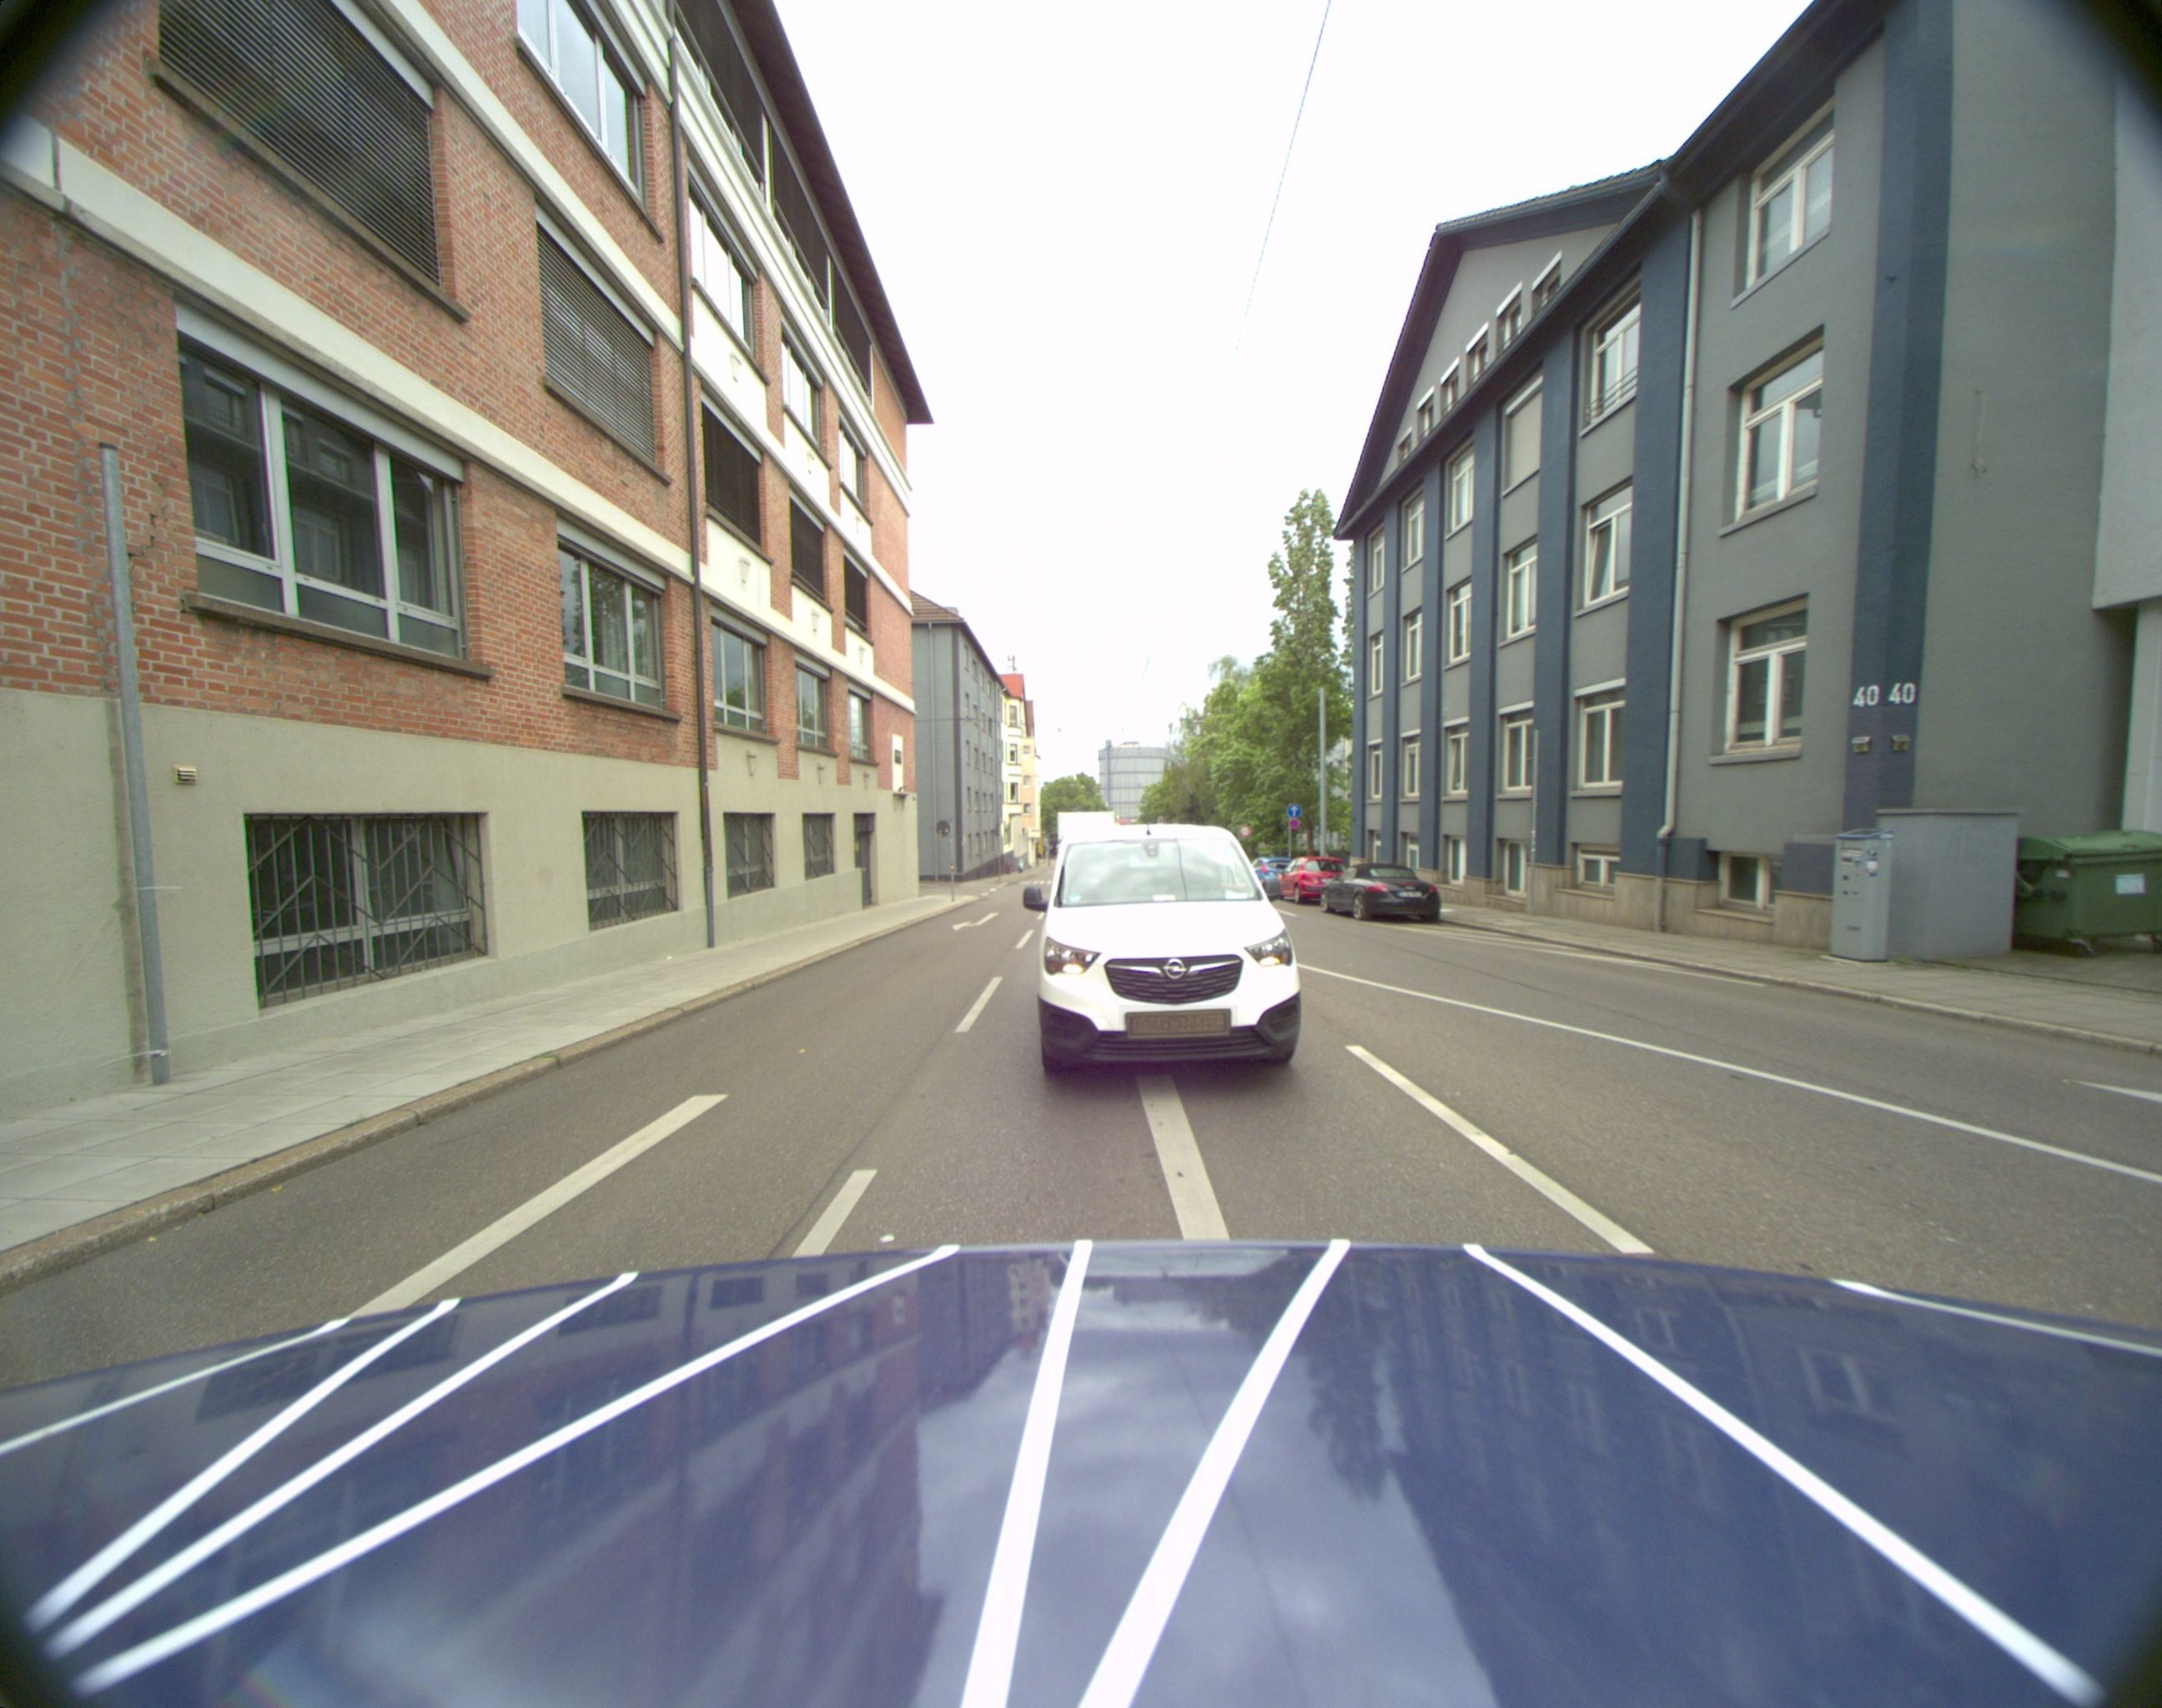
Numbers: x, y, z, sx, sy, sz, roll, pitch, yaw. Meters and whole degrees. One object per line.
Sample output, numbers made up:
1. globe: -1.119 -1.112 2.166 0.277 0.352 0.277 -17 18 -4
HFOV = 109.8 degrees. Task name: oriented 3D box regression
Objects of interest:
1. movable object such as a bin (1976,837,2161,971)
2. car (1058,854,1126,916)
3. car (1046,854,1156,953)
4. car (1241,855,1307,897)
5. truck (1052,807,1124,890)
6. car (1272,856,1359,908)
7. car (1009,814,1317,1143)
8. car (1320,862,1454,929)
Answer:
1. movable object such as a bin: 12.099 0.571 9.225 1.229 1.498 1.040 -2 1 1
2. car: 0.318 0.819 21.877 1.739 1.519 3.999 -2 1 1
3. car: 0.356 0.809 14.384 1.739 1.519 3.999 -2 1 1
4. car: 7.515 0.814 29.947 1.644 1.441 3.729 -2 1 1
5. truck: 0.357 -0.268 36.699 2.969 3.409 8.879 -2 1 1
6. car: 7.409 0.837 24.335 1.644 1.441 3.729 -2 1 1
7. car: 0.510 0.714 6.454 1.739 1.875 3.999 -2 1 1
8. car: 7.282 0.929 18.489 1.801 1.384 3.729 0 1 1
